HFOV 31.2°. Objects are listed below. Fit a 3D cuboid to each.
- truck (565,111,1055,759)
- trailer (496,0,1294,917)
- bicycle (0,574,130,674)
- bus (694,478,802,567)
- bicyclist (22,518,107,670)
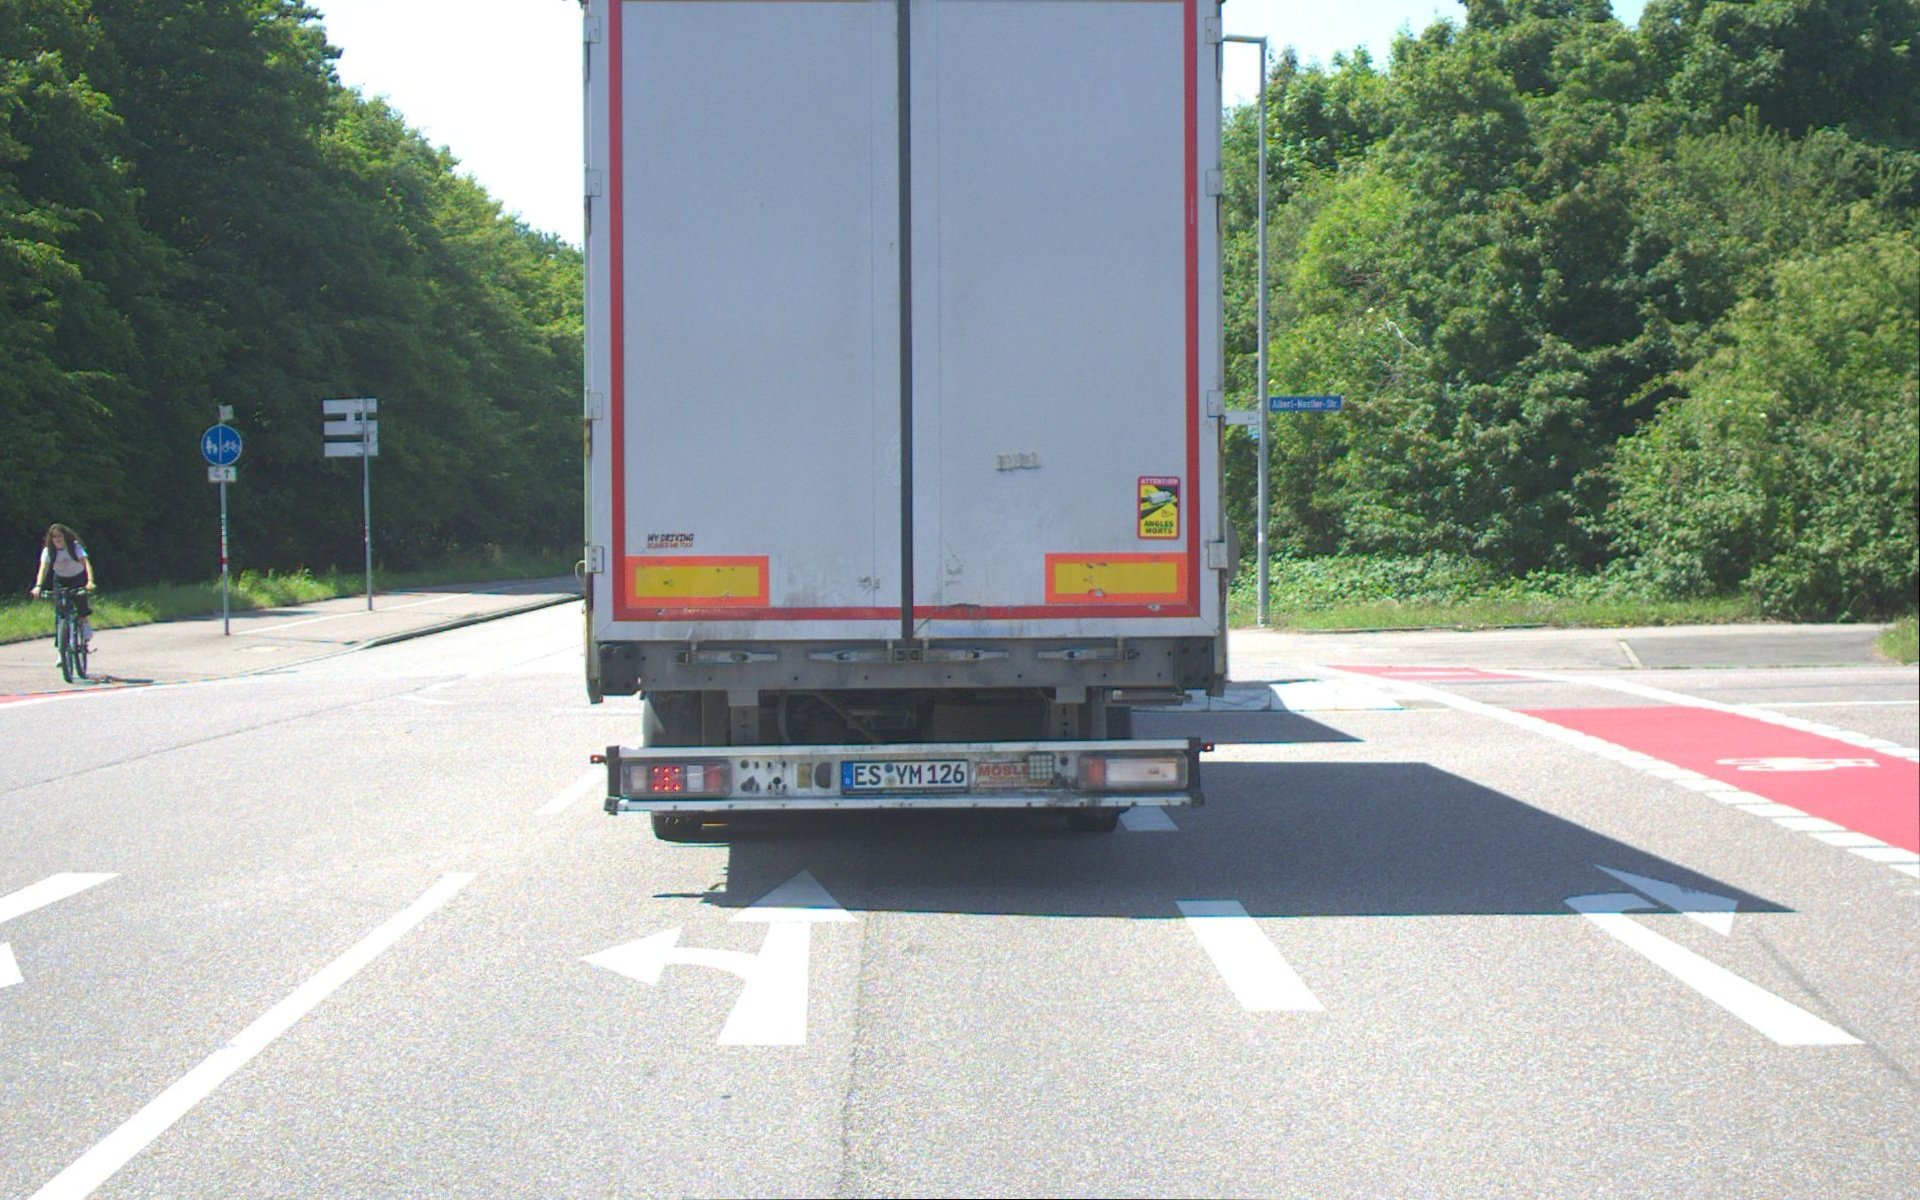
[{"bbox_3d":[-1.278,-1.134,25.627,3.076,4.055,7.961,0,1,-5],"label":"truck"},{"bbox_3d":[-0.636,-0.940,18.150,3.077,4.055,9.811,0,1,-5],"label":"trailer"},{"bbox_3d":[-10.172,0.256,39.074,0.669,1.051,2.044,0,2,10],"label":"bicycle"},{"bbox_3d":[-7.729,-2.929,126.642,2.749,3.034,11.939,-2,2,2],"label":"bus"},{"bbox_3d":[-10.169,-0.081,39.063,0.665,1.700,0.769,0,2,10],"label":"bicyclist"}]
